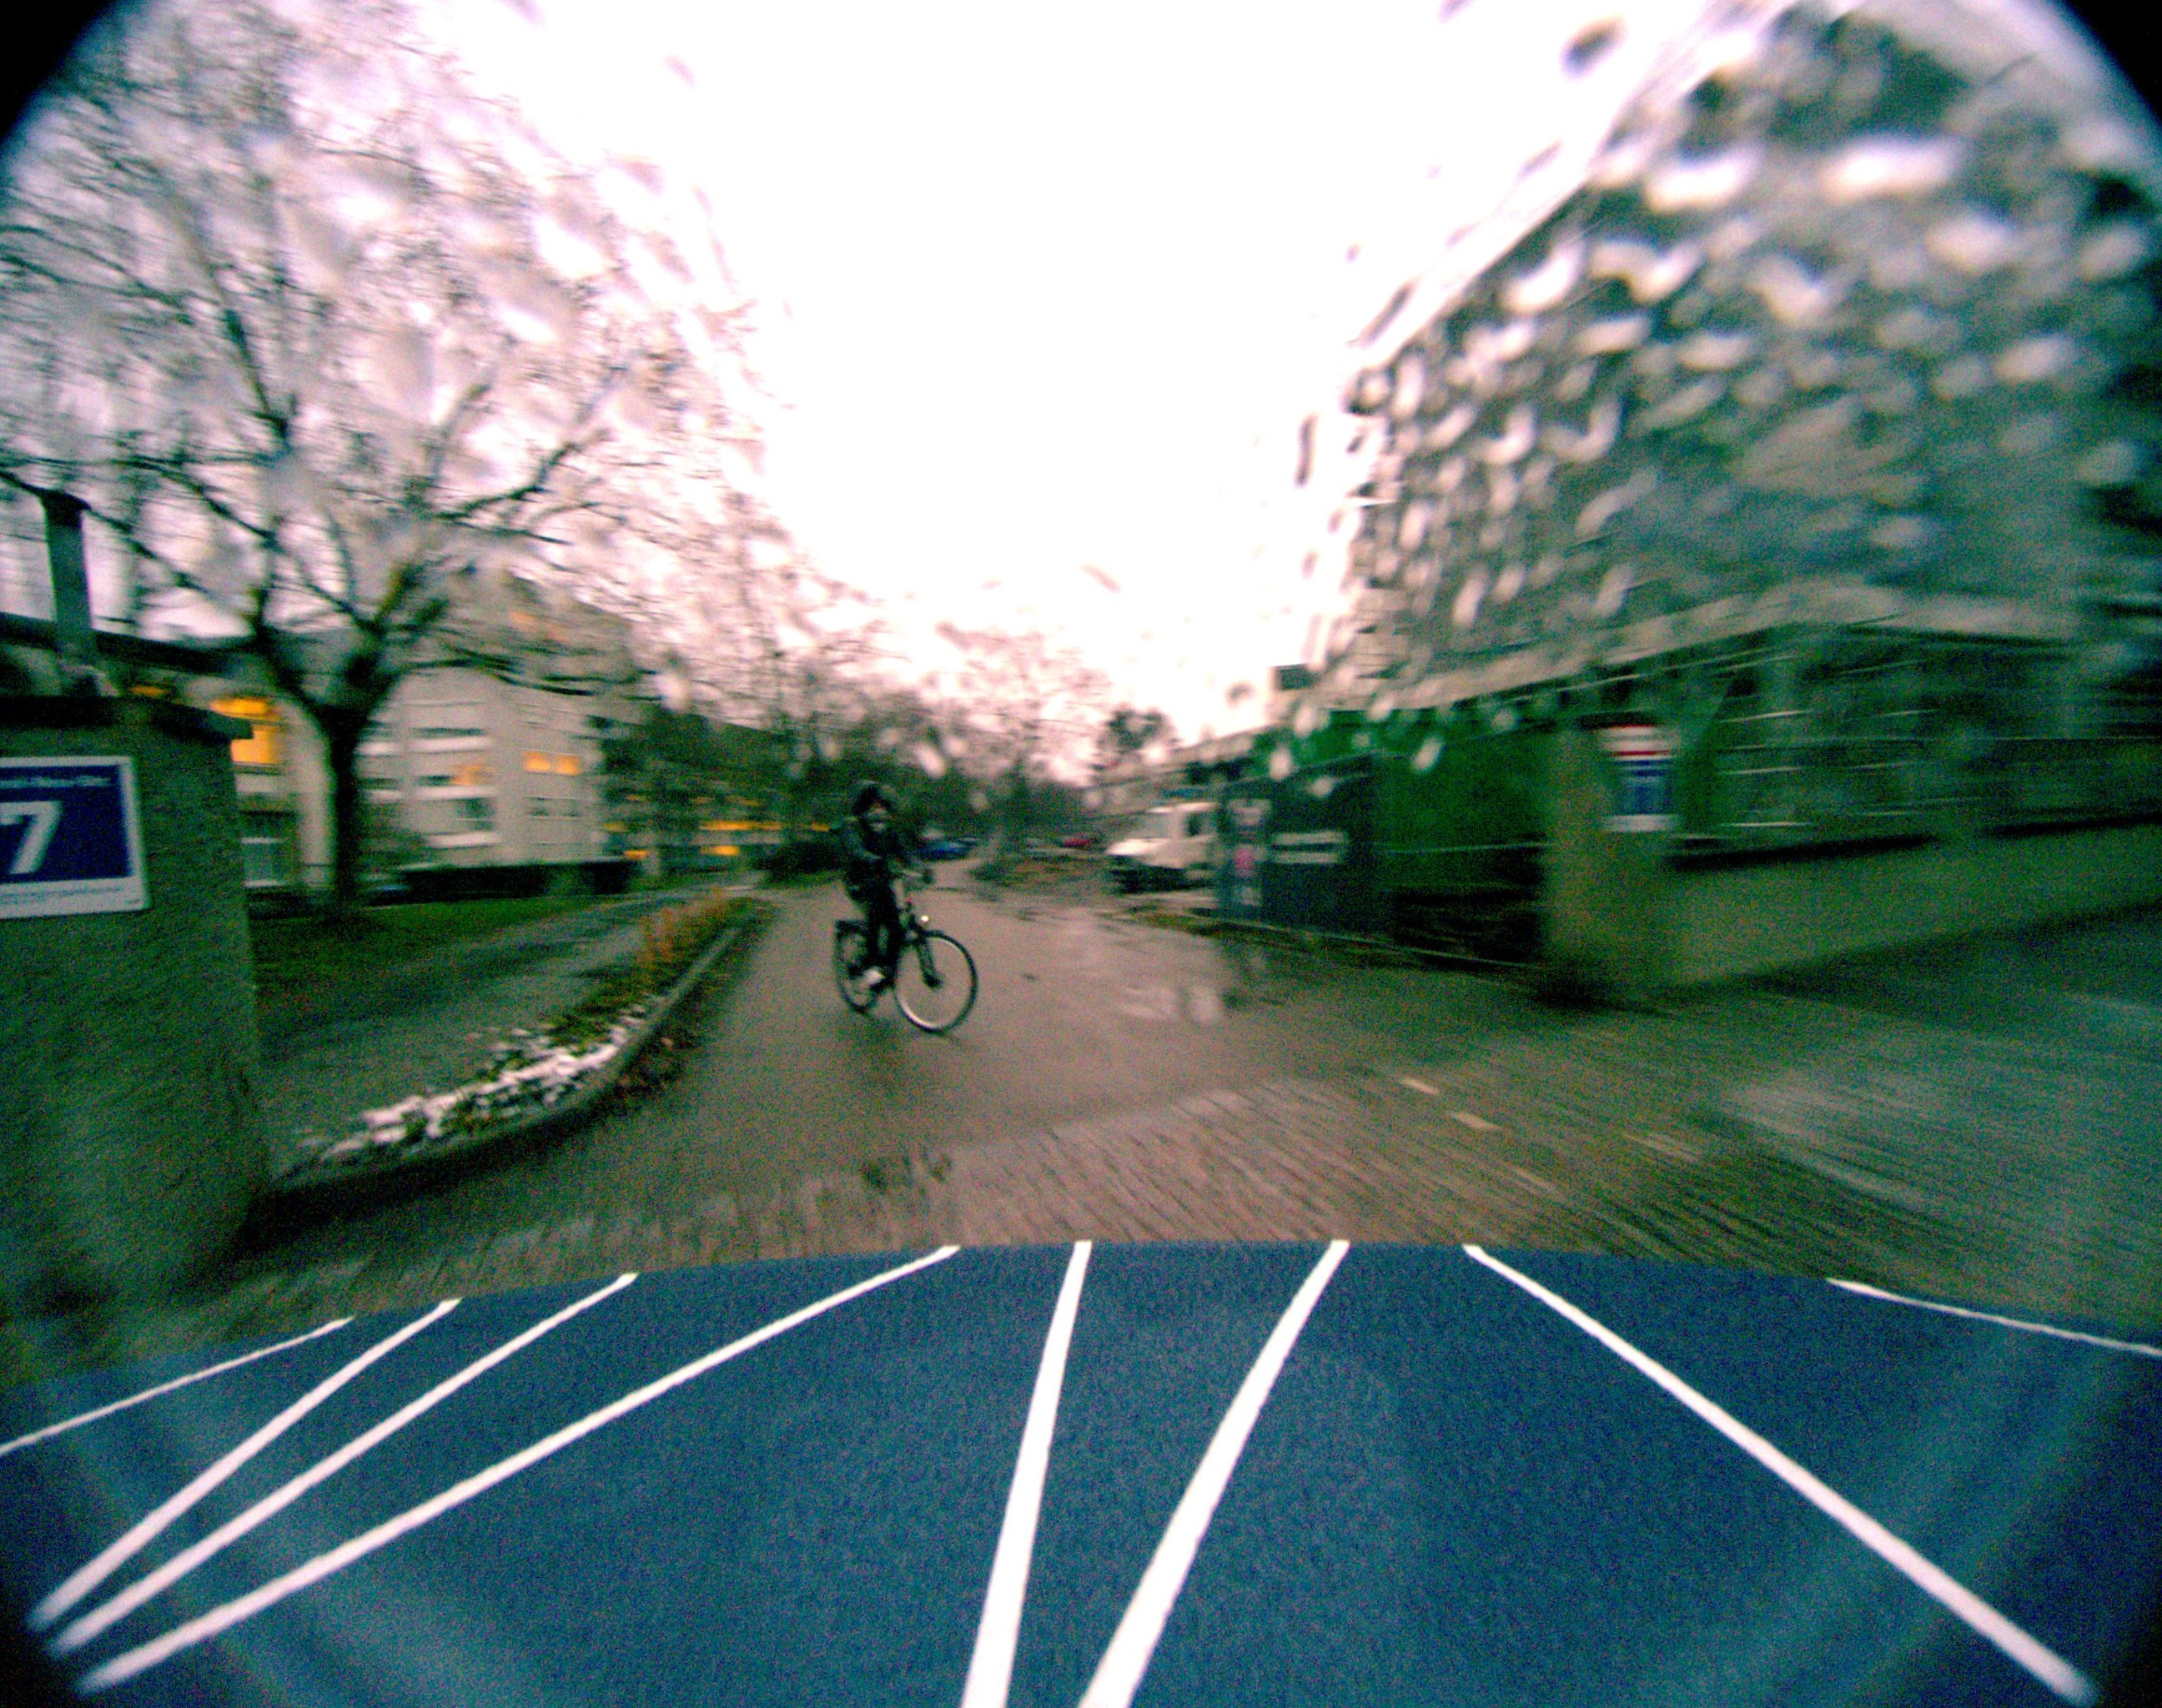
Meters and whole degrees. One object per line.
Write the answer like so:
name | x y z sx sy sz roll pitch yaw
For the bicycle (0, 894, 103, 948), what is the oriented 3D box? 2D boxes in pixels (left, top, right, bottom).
bicycle | -23.698 1.536 17.417 2.138 1.104 0.573 -2 3 10

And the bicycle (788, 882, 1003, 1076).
bicycle | -1.462 0.828 5.738 0.732 1.126 1.888 -5 3 -41

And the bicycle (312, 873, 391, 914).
bicycle | -23.041 1.246 23.995 2.138 1.151 0.573 -2 3 10

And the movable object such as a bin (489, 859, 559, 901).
movable object such as a bin | -17.684 0.808 24.152 1.437 1.218 0.988 -3 2 3

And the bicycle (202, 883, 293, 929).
bicycle | -23.184 1.439 21.132 2.138 1.151 0.573 -2 3 10

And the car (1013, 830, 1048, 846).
car | -6.230 -2.030 94.123 3.994 1.786 1.803 -2 2 10

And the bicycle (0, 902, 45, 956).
bicycle | -23.802 1.644 16.514 2.138 1.086 0.573 -2 3 10

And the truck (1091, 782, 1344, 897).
truck | 3.975 -0.516 21.427 7.088 2.574 2.127 -6 3 -28

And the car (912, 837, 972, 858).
car | -10.974 -0.495 60.130 4.176 1.469 2.001 -2 0 6

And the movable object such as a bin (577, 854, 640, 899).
movable object such as a bin | -14.888 0.695 23.984 1.324 1.309 1.062 -2 3 -10

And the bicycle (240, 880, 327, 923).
bicycle | -23.096 1.373 22.016 2.138 1.151 0.573 -2 3 10

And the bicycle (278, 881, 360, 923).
bicycle | -23.079 1.451 23.016 2.138 1.151 0.573 -2 3 10

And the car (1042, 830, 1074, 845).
car | -3.134 -2.274 105.012 3.994 1.786 1.803 -2 2 10

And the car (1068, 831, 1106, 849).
car | 0.557 -1.277 69.660 3.305 1.515 1.704 -2 2 6

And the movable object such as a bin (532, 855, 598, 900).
movable object such as a bin | -16.313 0.719 24.057 1.306 1.307 0.988 -3 2 3

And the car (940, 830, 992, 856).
car | -9.966 -0.954 65.994 3.994 1.981 2.001 -2 2 10

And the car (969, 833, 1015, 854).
car | -8.515 -1.050 72.867 3.994 1.786 1.803 -2 2 10

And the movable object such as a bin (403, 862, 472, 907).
movable object such as a bin | -20.530 0.949 24.263 1.262 1.307 0.988 -3 2 3

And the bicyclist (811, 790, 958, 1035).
bicyclist | -1.479 0.389 5.711 0.708 1.680 0.769 -5 3 -41

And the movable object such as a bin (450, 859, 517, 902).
movable object such as a bin | -19.071 0.838 24.292 1.250 1.273 0.988 -3 2 3
